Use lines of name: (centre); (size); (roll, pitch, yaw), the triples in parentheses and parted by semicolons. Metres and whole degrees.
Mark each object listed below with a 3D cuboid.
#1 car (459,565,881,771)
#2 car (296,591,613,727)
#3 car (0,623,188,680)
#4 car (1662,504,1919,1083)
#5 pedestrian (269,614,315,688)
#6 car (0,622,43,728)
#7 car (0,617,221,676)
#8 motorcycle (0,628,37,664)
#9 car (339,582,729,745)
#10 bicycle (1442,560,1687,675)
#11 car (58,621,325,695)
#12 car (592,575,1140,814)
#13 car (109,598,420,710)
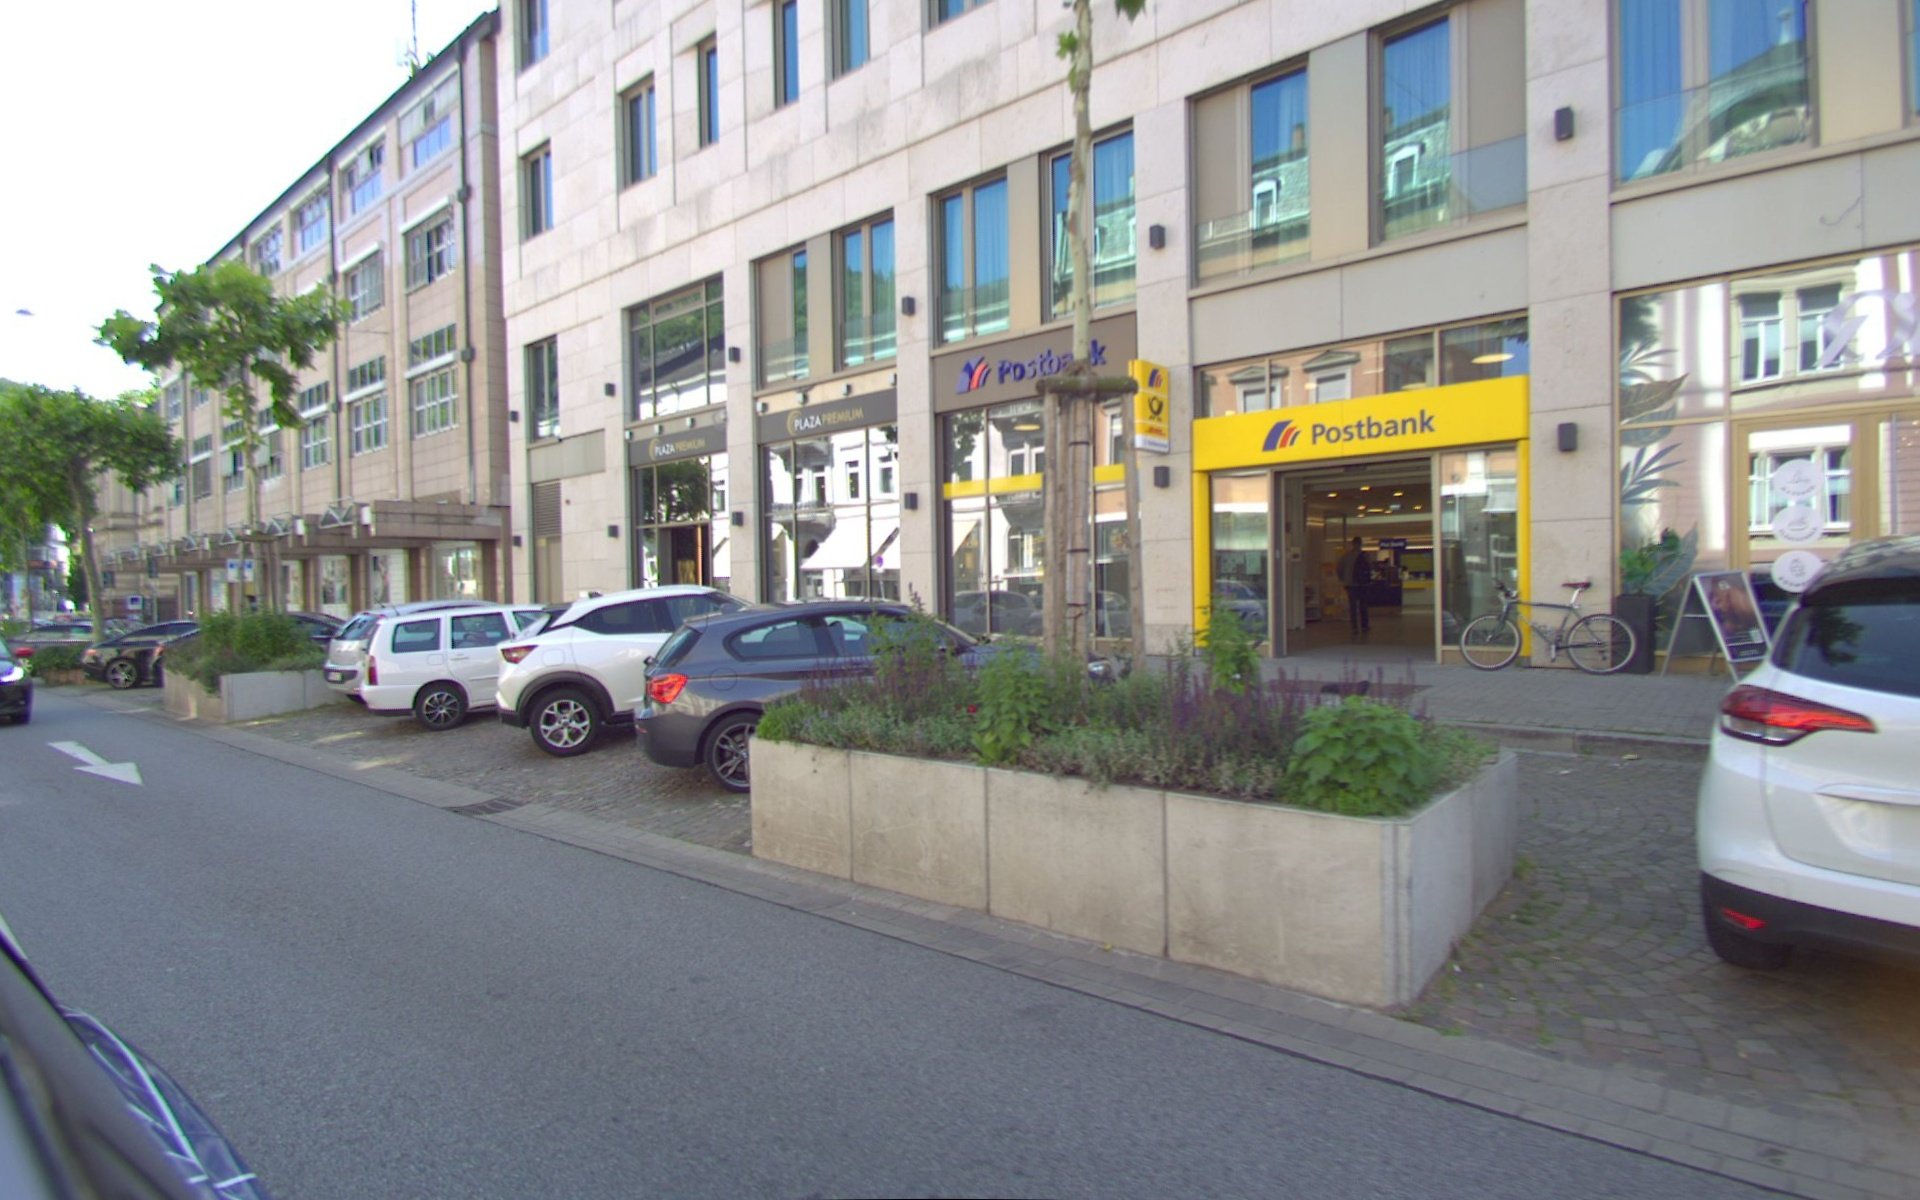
car: (-3.062, 0.608, 11.093); (3.971, 1.604, 1.825); (-6, 4, -16)
car: (-7.683, 0.774, 15.684); (1.819, 1.539, 3.948); (1, 5, 40)
car: (-24.844, 1.443, 28.708); (4.333, 1.457, 1.889); (-1, -1, -9)
car: (4.656, 0.440, 3.981); (4.107, 1.648, 2.106); (-7, 4, -40)
pedestrian: (-17.605, 1.320, 26.667); (0.844, 1.893, 0.829); (-1, -1, 42)
car: (-15.382, 1.138, 15.169); (4.102, 1.489, 1.845); (-3, -1, 39)
car: (-26.200, 1.399, 31.334); (5.051, 1.645, 1.847); (-1, -1, -9)
motorcycle: (-38.162, 1.804, 39.655); (3.058, 1.361, 0.979); (-1, -1, -1)
car: (-5.585, 0.698, 13.531); (4.426, 1.442, 1.869); (-7, 4, -29)
bicycle: (6.362, 0.185, 10.753); (2.160, 1.115, 0.490); (-1, 2, 42)
car: (-17.045, 1.261, 22.633); (4.552, 1.457, 1.734); (-1, 0, -4)
car: (-0.817, 0.658, 8.790); (4.247, 1.460, 1.792); (-4, 2, -15)
car: (-13.004, 0.950, 19.275); (4.455, 1.515, 1.798); (-5, 4, -18)
